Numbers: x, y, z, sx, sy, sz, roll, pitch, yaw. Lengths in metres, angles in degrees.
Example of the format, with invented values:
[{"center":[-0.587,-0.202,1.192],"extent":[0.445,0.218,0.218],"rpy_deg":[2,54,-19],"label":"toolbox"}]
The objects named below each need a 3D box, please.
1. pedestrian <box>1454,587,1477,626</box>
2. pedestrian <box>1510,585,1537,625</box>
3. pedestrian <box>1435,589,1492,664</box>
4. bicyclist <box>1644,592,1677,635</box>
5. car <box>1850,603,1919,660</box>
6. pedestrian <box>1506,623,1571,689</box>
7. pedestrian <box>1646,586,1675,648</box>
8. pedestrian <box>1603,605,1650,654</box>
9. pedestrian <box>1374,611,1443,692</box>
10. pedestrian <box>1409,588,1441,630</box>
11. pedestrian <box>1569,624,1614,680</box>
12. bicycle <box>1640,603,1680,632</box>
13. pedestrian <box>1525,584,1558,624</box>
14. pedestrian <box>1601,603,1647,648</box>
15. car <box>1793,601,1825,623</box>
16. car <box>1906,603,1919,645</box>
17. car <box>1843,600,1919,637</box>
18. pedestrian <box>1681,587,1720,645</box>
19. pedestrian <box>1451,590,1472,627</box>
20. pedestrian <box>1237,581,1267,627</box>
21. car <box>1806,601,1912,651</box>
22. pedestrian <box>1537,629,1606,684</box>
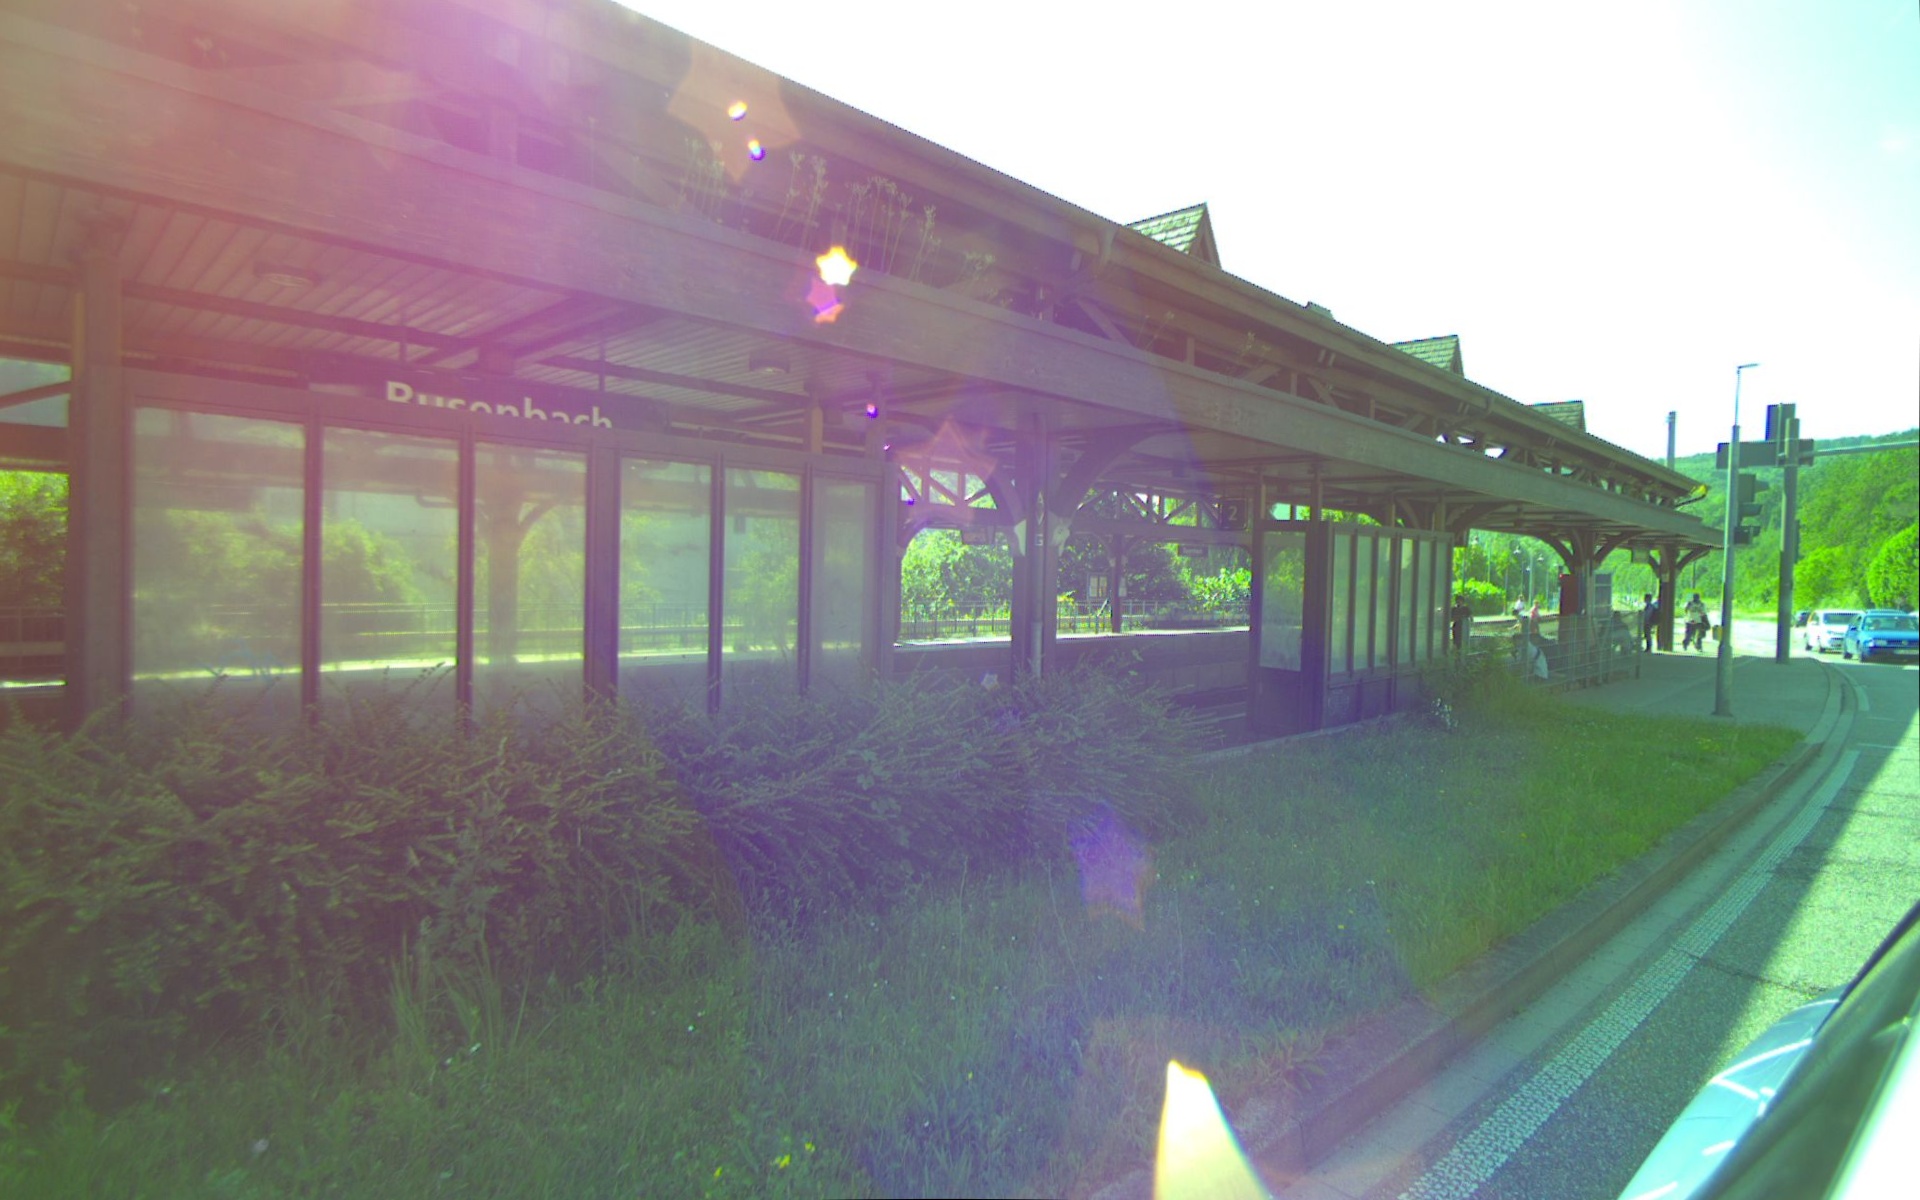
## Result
[{"center":[22.680,0.297,45.411],"extent":[0.895,1.706,0.815],"rpy_deg":[0,-2,26],"label":"pedestrian"},{"center":[24.758,0.224,44.475],"extent":[0.864,1.706,0.810],"rpy_deg":[-1,-2,42],"label":"pedestrian"},{"center":[10.990,0.567,22.067],"extent":[0.860,1.567,0.908],"rpy_deg":[1,-1,43],"label":"pedestrian"},{"center":[26.616,0.506,38.463],"extent":[0.776,1.589,0.941],"rpy_deg":[-1,-1,18],"label":"bicyclist"},{"center":[27.007,0.859,28.897],"extent":[1.854,1.501,4.248],"rpy_deg":[2,1,34],"label":"car"},{"center":[9.113,0.868,15.944],"extent":[0.741,0.995,0.757],"rpy_deg":[-1,-2,42],"label":"pedestrian"},{"center":[20.152,0.478,29.108],"extent":[0.655,1.713,0.730],"rpy_deg":[1,1,35],"label":"pedestrian"},{"center":[17.411,0.767,26.445],"extent":[0.988,1.251,0.589],"rpy_deg":[-1,-2,36],"label":"pedestrian"},{"center":[6.465,0.723,14.583],"extent":[0.741,1.131,0.657],"rpy_deg":[-1,-2,42],"label":"pedestrian"},{"center":[21.331,0.418,46.436],"extent":[1.054,1.867,0.989],"rpy_deg":[3,-2,-42],"label":"pedestrian"},{"center":[11.252,0.920,18.024],"extent":[0.616,0.978,0.400],"rpy_deg":[-1,-2,42],"label":"pedestrian"},{"center":[26.533,0.662,38.385],"extent":[0.595,1.069,1.806],"rpy_deg":[-1,-1,13],"label":"bicycle"},{"center":[24.977,0.193,43.465],"extent":[0.805,1.706,0.905],"rpy_deg":[1,-2,-9],"label":"pedestrian"},{"center":[18.047,0.679,27.495],"extent":[1.003,1.174,0.937],"rpy_deg":[1,0,35],"label":"pedestrian"},{"center":[71.157,1.049,84.850],"extent":[1.990,1.772,3.942],"rpy_deg":[-1,-2,40],"label":"car"},{"center":[34.919,0.856,35.197],"extent":[1.965,1.523,4.697],"rpy_deg":[0,-1,31],"label":"car"},{"center":[40.304,0.812,44.193],"extent":[1.965,1.523,3.941],"rpy_deg":[0,-1,31],"label":"car"},{"center":[22.814,0.492,31.162],"extent":[0.912,1.759,1.234],"rpy_deg":[-1,-2,38],"label":"pedestrian"},{"center":[23.205,0.404,46.803],"extent":[0.669,1.706,0.560],"rpy_deg":[1,-2,-20],"label":"pedestrian"},{"center":[11.096,0.151,38.412],"extent":[0.888,1.706,0.735],"rpy_deg":[2,-2,-41],"label":"pedestrian"},{"center":[30.967,0.870,34.990],"extent":[1.984,1.605,3.955],"rpy_deg":[-1,-1,31],"label":"car"},{"center":[10.179,0.925,16.841],"extent":[0.844,0.885,0.795],"rpy_deg":[-1,-2,42],"label":"pedestrian"}]
